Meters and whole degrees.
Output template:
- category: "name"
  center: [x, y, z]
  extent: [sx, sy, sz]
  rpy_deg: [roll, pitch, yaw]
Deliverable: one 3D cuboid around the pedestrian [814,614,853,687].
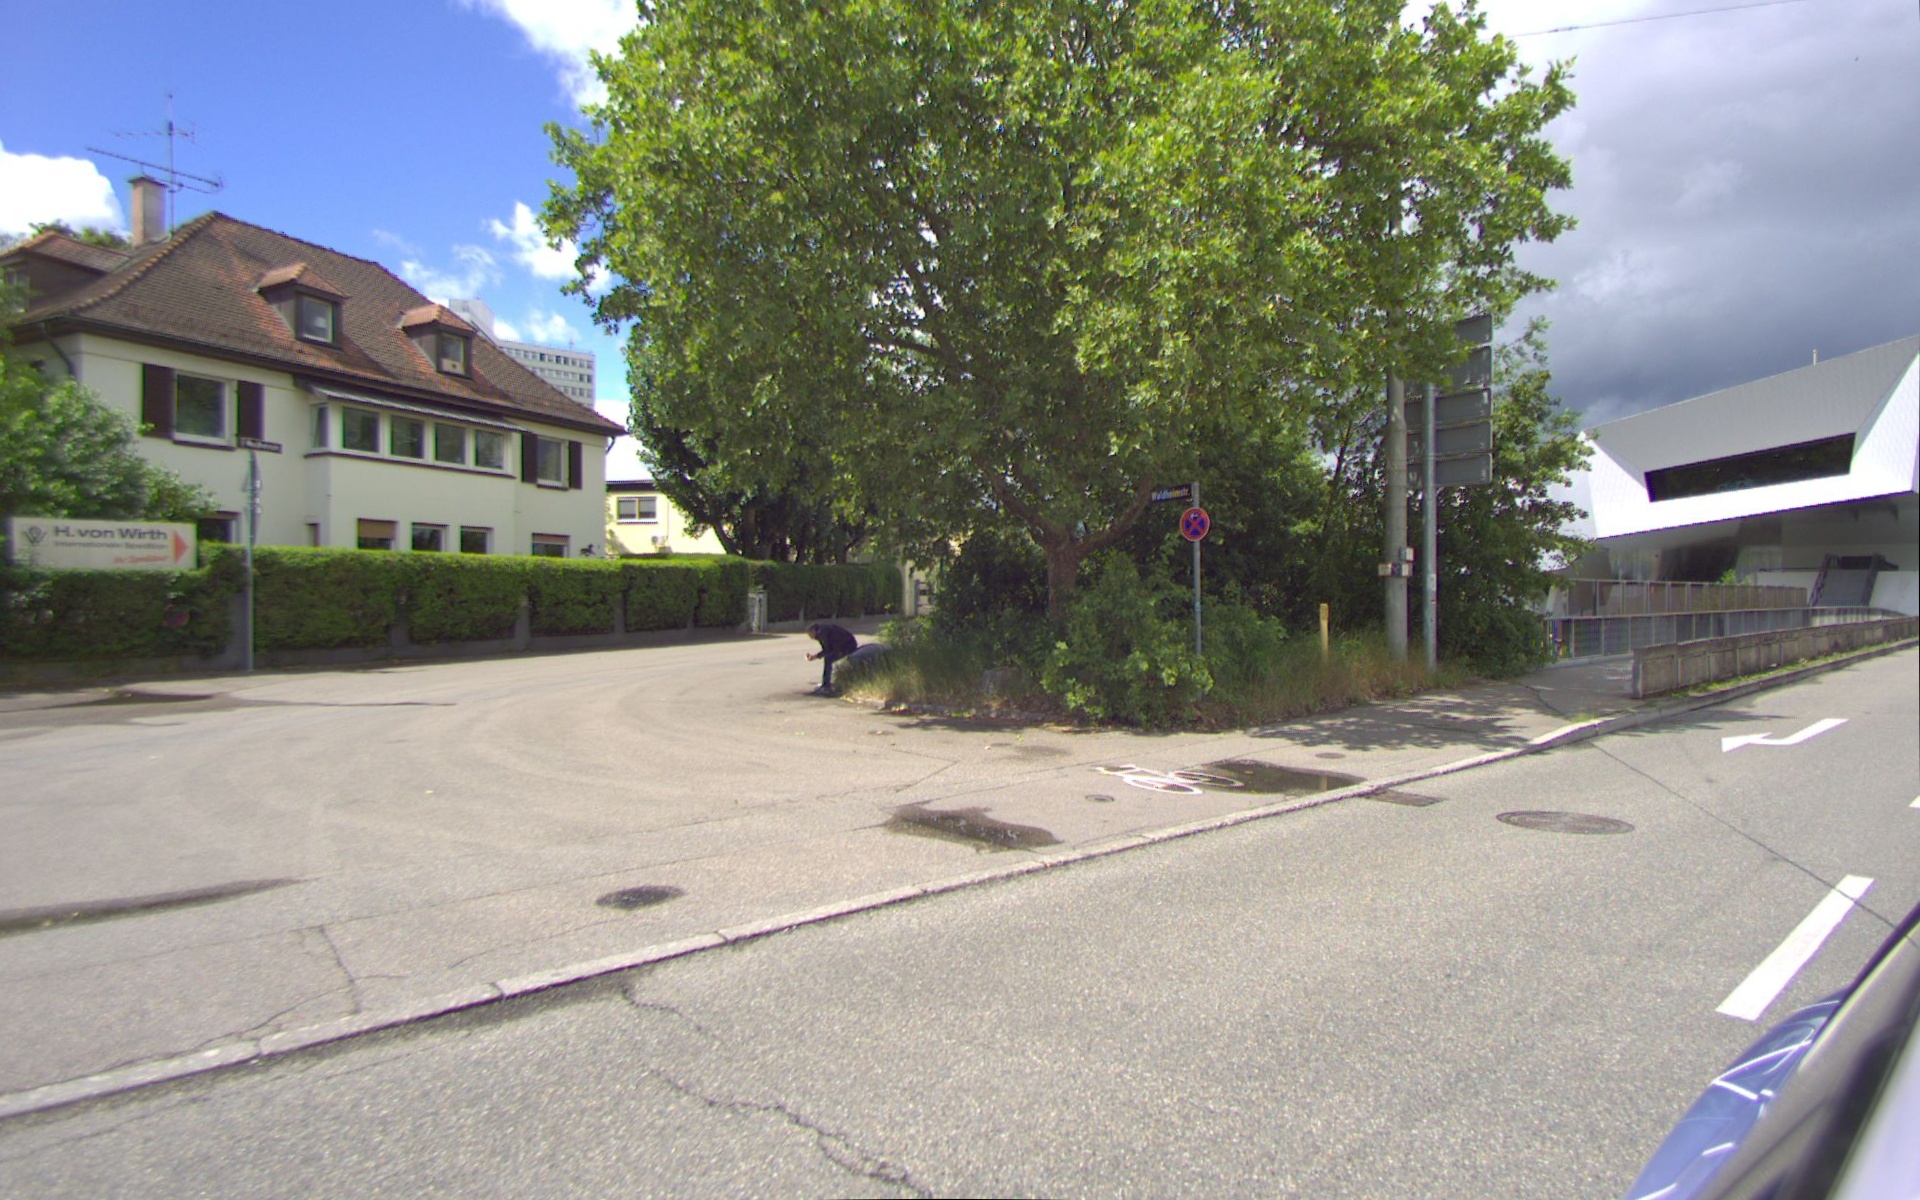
- category: "pedestrian"
  center: [-2.251, 0.891, 17.935]
  extent: [0.506, 1.262, 0.569]
  rpy_deg: [2, -1, -22]
